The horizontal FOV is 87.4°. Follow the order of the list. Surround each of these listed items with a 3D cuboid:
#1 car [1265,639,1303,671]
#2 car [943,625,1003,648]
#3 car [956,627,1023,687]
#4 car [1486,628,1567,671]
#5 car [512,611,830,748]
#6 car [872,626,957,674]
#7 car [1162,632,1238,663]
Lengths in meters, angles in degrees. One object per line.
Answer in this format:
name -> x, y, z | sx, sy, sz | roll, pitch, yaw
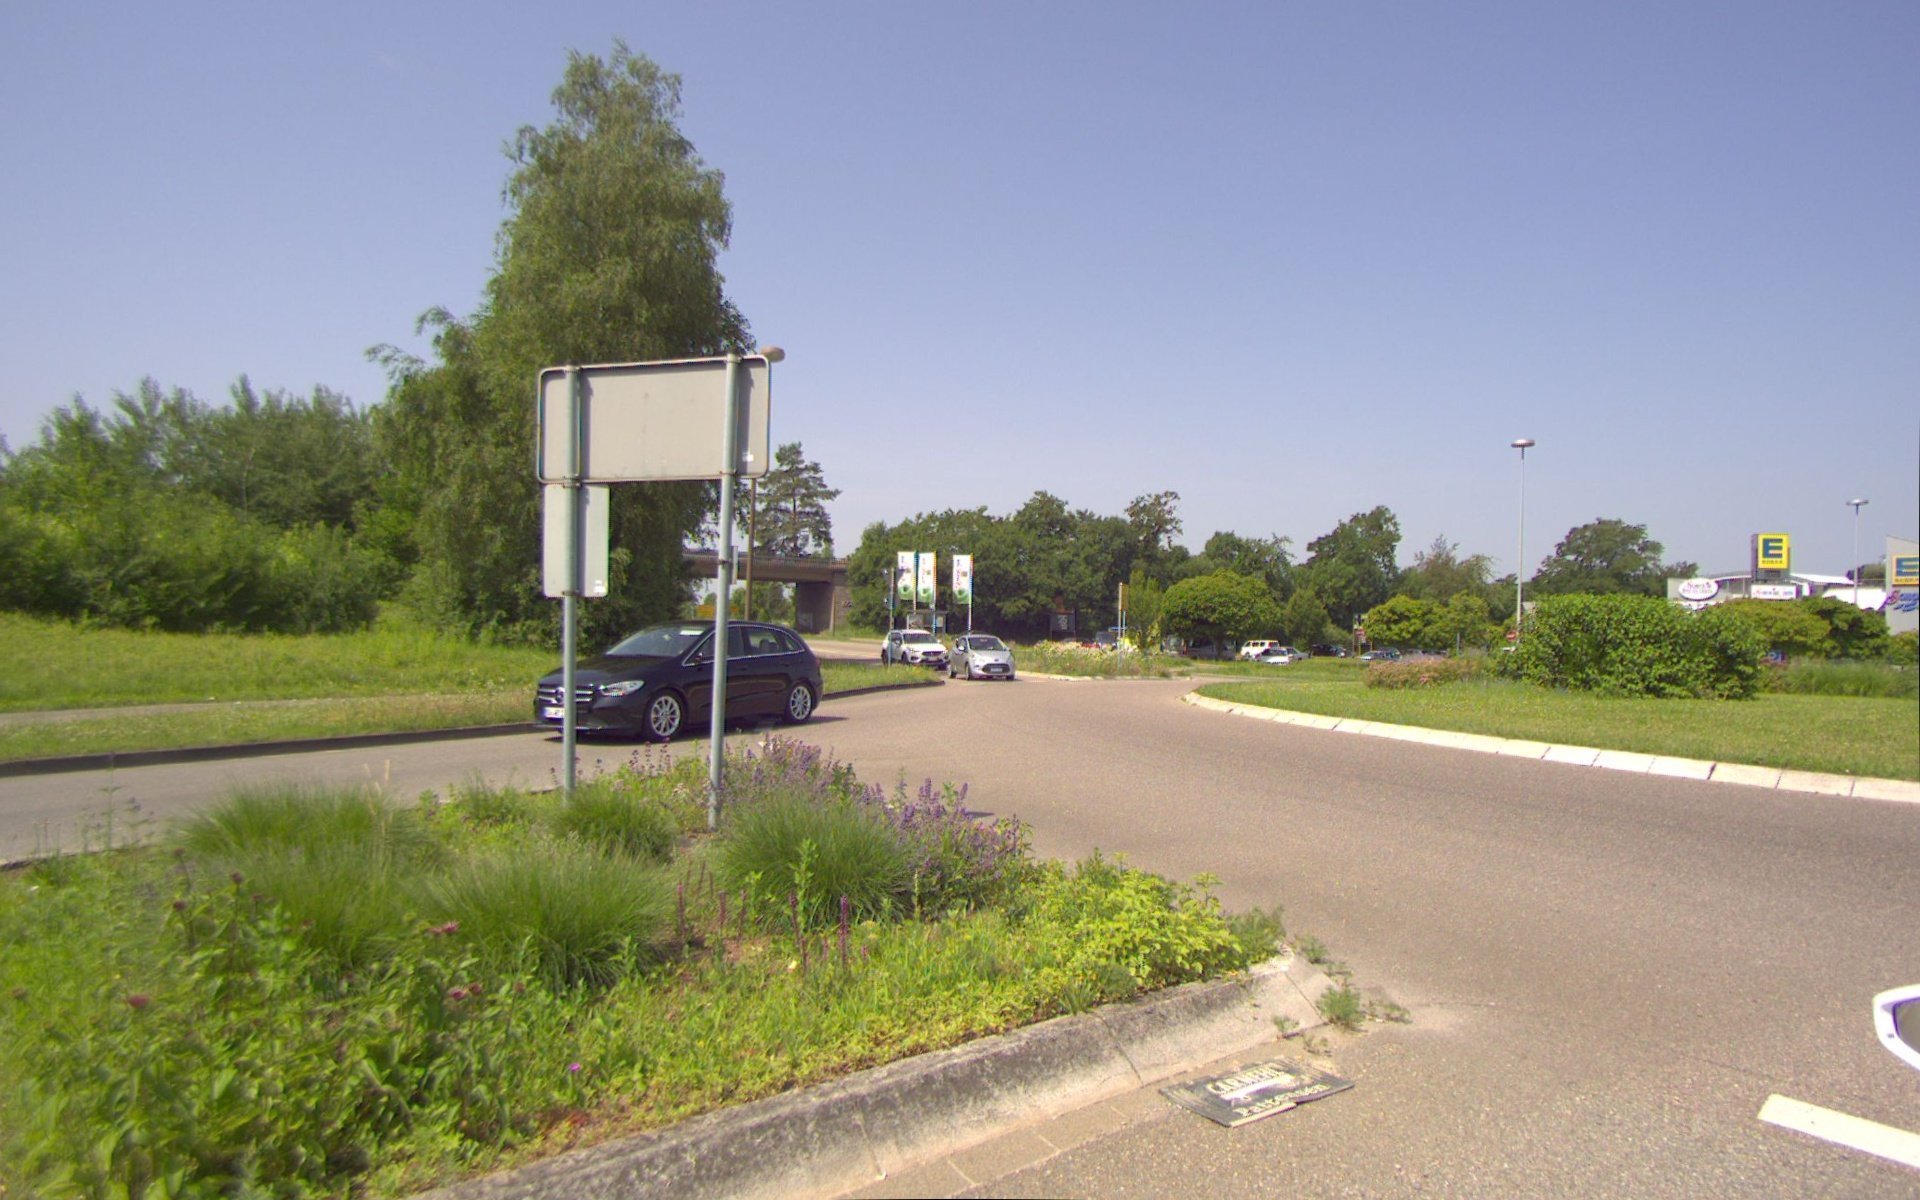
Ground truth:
car -> 17.840, 2.984, 55.394 | 1.553, 1.517, 4.569 | 3, -1, 13
car -> 1.084, 3.038, 83.242 | 4.584, 1.674, 2.013 | 3, 0, -30
car -> 0.923, 1.867, 33.908 | 2.087, 1.637, 4.198 | 2, 1, -1
car -> 30.628, 2.687, 54.300 | 3.944, 2.040, 1.684 | 4, -1, -23
car -> -3.704, 1.013, 13.676 | 1.726, 1.550, 4.208 | -1, -3, 28
car -> -2.047, 2.104, 42.883 | 2.164, 1.674, 5.098 | 3, 0, -20
car -> 14.290, 2.828, 59.784 | 4.360, 1.582, 1.859 | 4, -1, -33
